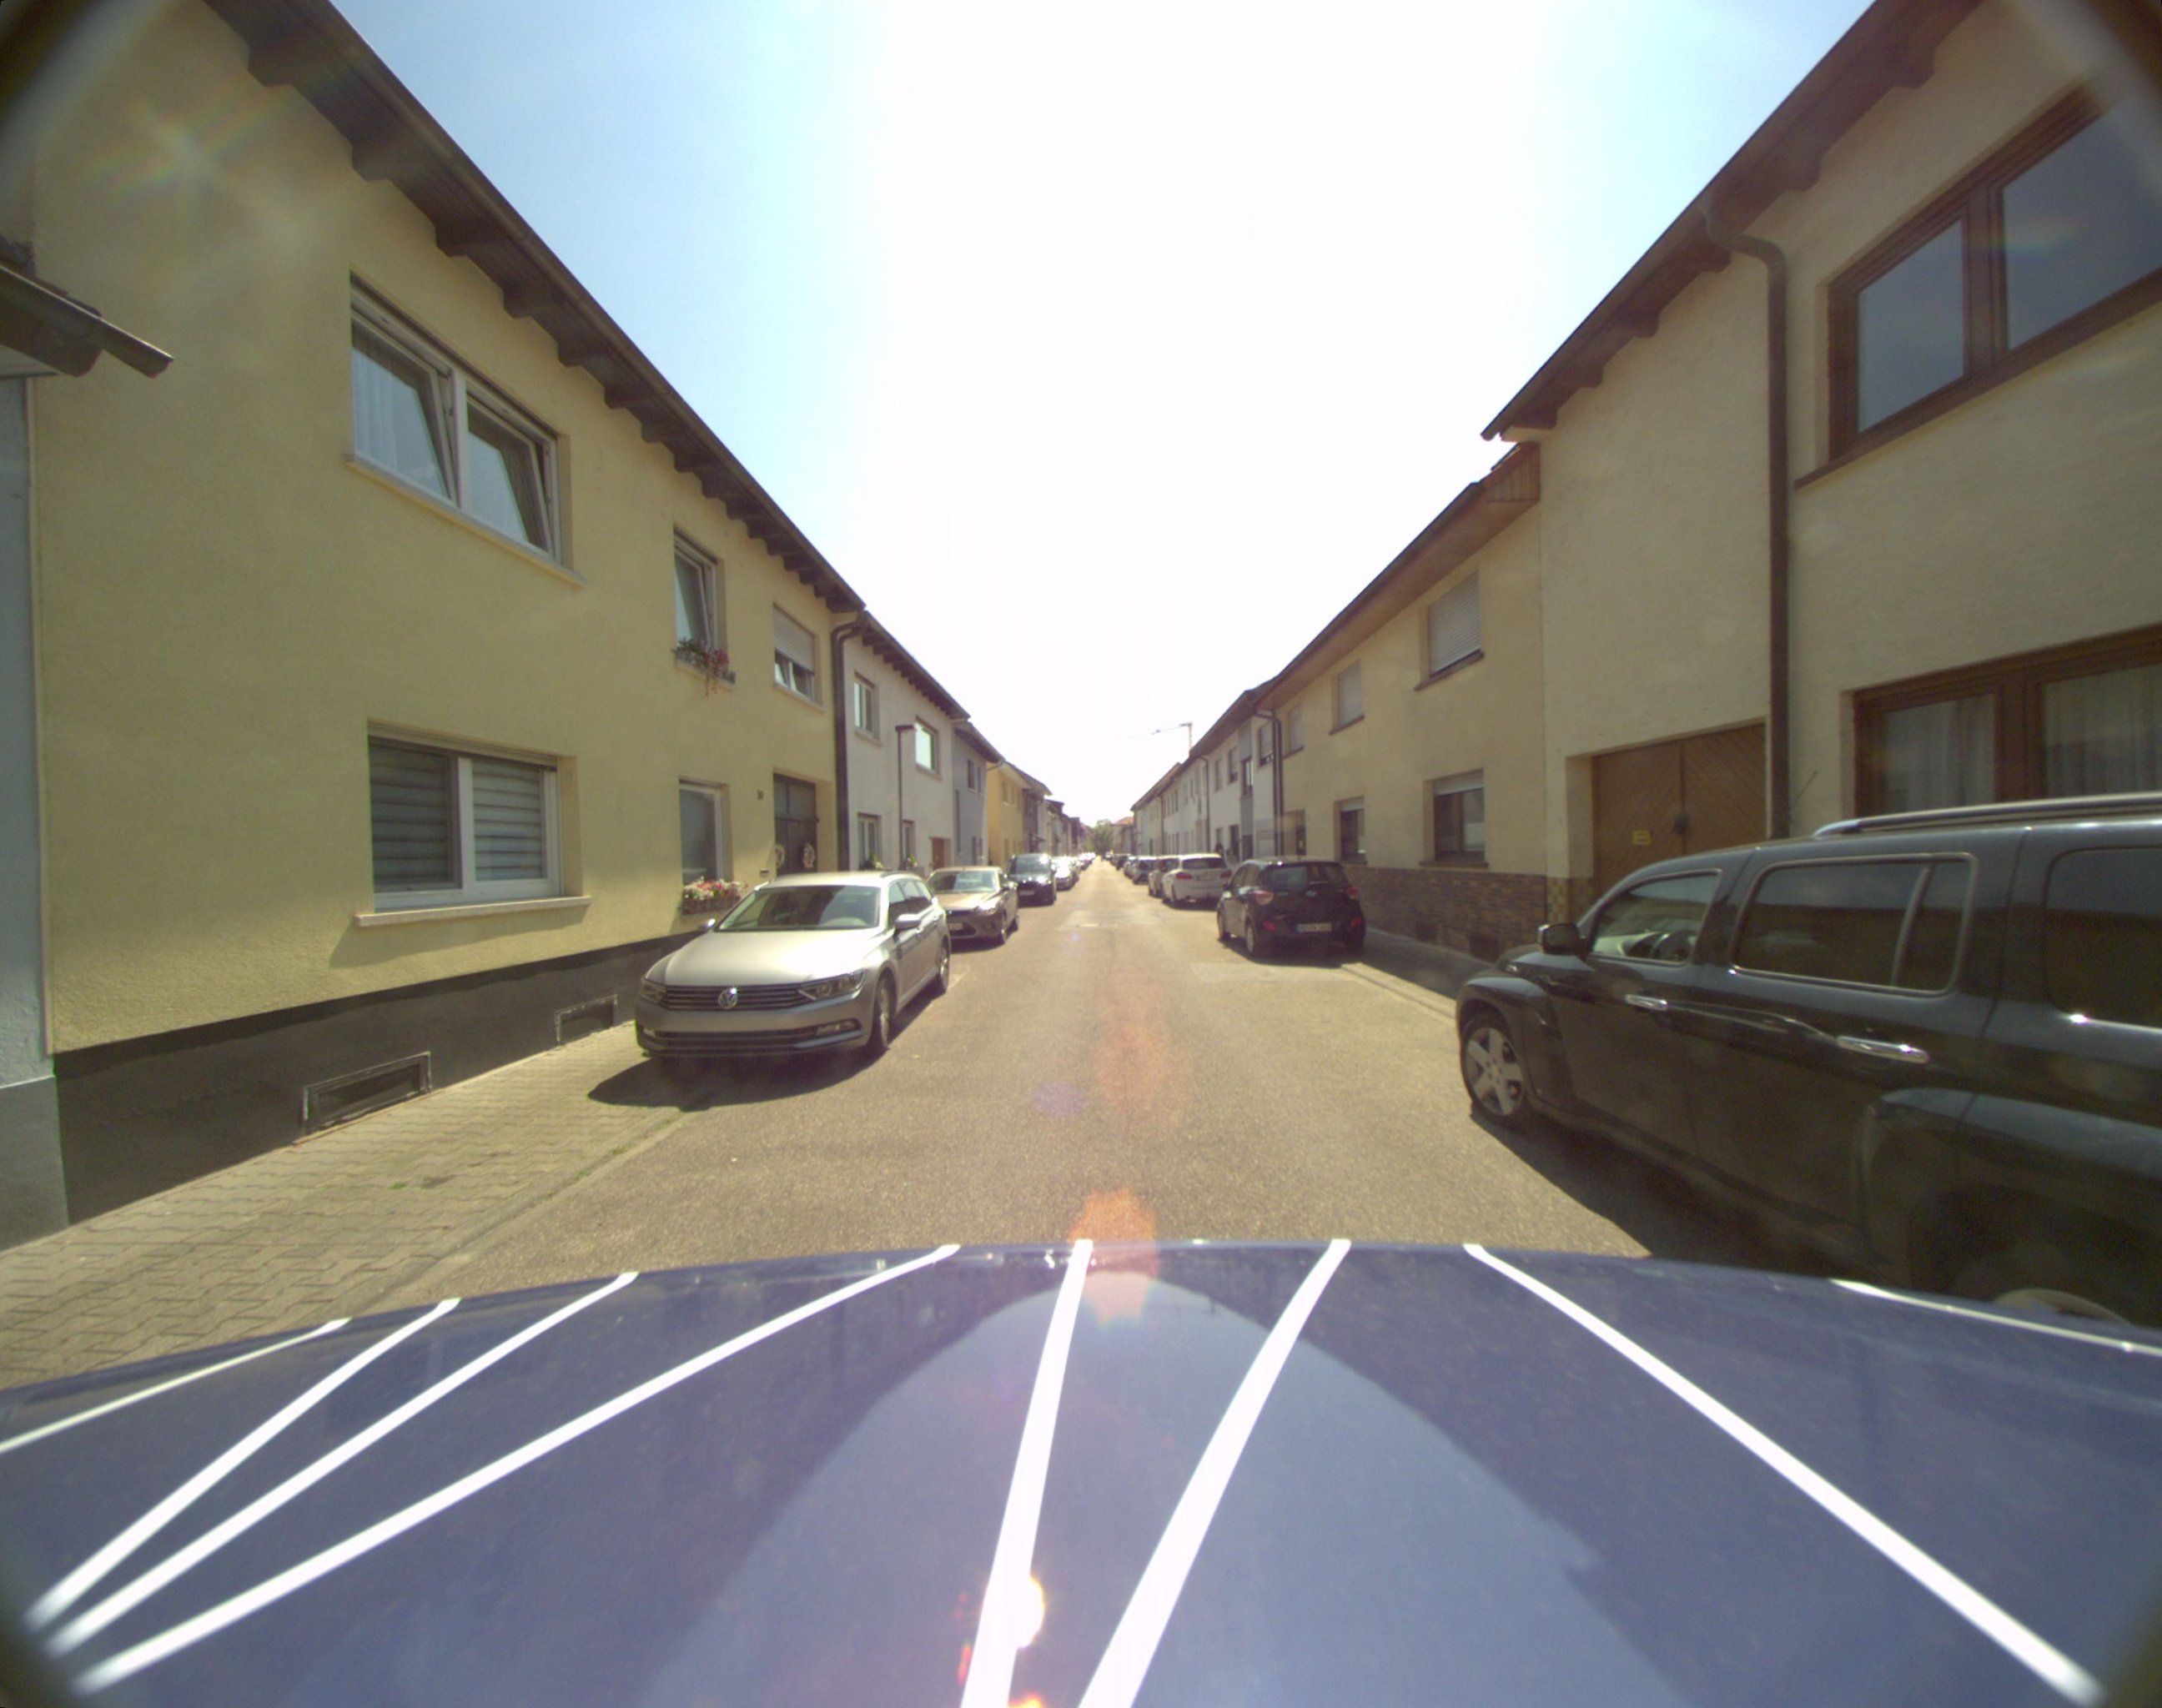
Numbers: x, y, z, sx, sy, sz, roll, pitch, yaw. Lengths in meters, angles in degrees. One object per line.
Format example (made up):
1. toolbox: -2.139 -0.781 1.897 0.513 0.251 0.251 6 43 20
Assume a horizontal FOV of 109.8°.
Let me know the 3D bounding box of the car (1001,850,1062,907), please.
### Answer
1. car: -1.619 0.761 26.144 1.701 1.767 4.199 -1 1 2

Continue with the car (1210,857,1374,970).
1. car: 3.315 0.854 12.702 1.644 1.528 3.942 -1 1 0

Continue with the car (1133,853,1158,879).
1. car: 3.938 0.730 46.542 1.414 1.519 3.025 -1 1 2

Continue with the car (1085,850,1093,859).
1. car: 1.488 0.063 136.176 1.414 1.604 3.324 -1 1 1

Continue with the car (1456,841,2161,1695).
1. car: 2.952 0.771 2.402 1.726 1.606 3.989 -1 1 3

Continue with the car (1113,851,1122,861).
1. car: 5.716 0.308 119.315 1.414 1.582 3.324 -1 1 1

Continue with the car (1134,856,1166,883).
1. car: 3.747 0.832 41.704 1.606 1.434 3.214 -1 0 2

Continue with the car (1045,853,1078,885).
1. car: -1.062 0.795 42.074 1.684 1.575 3.961 -2 1 -1

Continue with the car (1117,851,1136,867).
1. car: 4.728 0.514 79.020 1.818 1.598 3.887 -1 1 1

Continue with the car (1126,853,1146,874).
1. car: 4.127 0.679 57.234 1.414 1.446 3.543 -1 1 2

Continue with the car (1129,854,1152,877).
1. car: 4.003 0.760 51.742 1.414 1.446 3.462 -1 1 2

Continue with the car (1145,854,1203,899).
1. car: 3.523 0.804 29.297 1.667 1.532 3.687 -2 1 -2

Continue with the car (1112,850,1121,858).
1. car: 5.866 -0.035 127.071 1.414 1.389 3.324 -1 1 1

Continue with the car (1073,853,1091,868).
1. car: 0.122 0.673 82.153 1.736 1.502 3.624 -3 1 1

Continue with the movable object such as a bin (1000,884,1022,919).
1. movable object such as a bin: -1.921 1.289 20.818 0.551 0.886 0.579 -2 1 -5

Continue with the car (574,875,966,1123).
1. car: -2.470 1.050 7.552 1.843 1.440 4.775 -3 0 0

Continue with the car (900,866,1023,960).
1. car: -2.188 1.035 14.955 1.701 1.427 4.102 -3 1 0

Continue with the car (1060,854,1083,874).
1. car: -0.779 0.811 63.737 1.743 1.460 4.045 -3 1 0

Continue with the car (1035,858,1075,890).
1. car: -1.200 0.913 36.645 1.666 1.406 4.248 -1 1 1

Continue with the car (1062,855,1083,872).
1. car: -0.745 0.822 69.258 1.761 1.351 4.045 -3 1 1

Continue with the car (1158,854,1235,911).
1. car: 3.516 0.815 23.680 1.667 1.540 3.941 -2 1 -1

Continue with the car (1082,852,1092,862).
1. car: 0.988 0.449 117.532 1.414 1.389 3.324 -1 1 1
